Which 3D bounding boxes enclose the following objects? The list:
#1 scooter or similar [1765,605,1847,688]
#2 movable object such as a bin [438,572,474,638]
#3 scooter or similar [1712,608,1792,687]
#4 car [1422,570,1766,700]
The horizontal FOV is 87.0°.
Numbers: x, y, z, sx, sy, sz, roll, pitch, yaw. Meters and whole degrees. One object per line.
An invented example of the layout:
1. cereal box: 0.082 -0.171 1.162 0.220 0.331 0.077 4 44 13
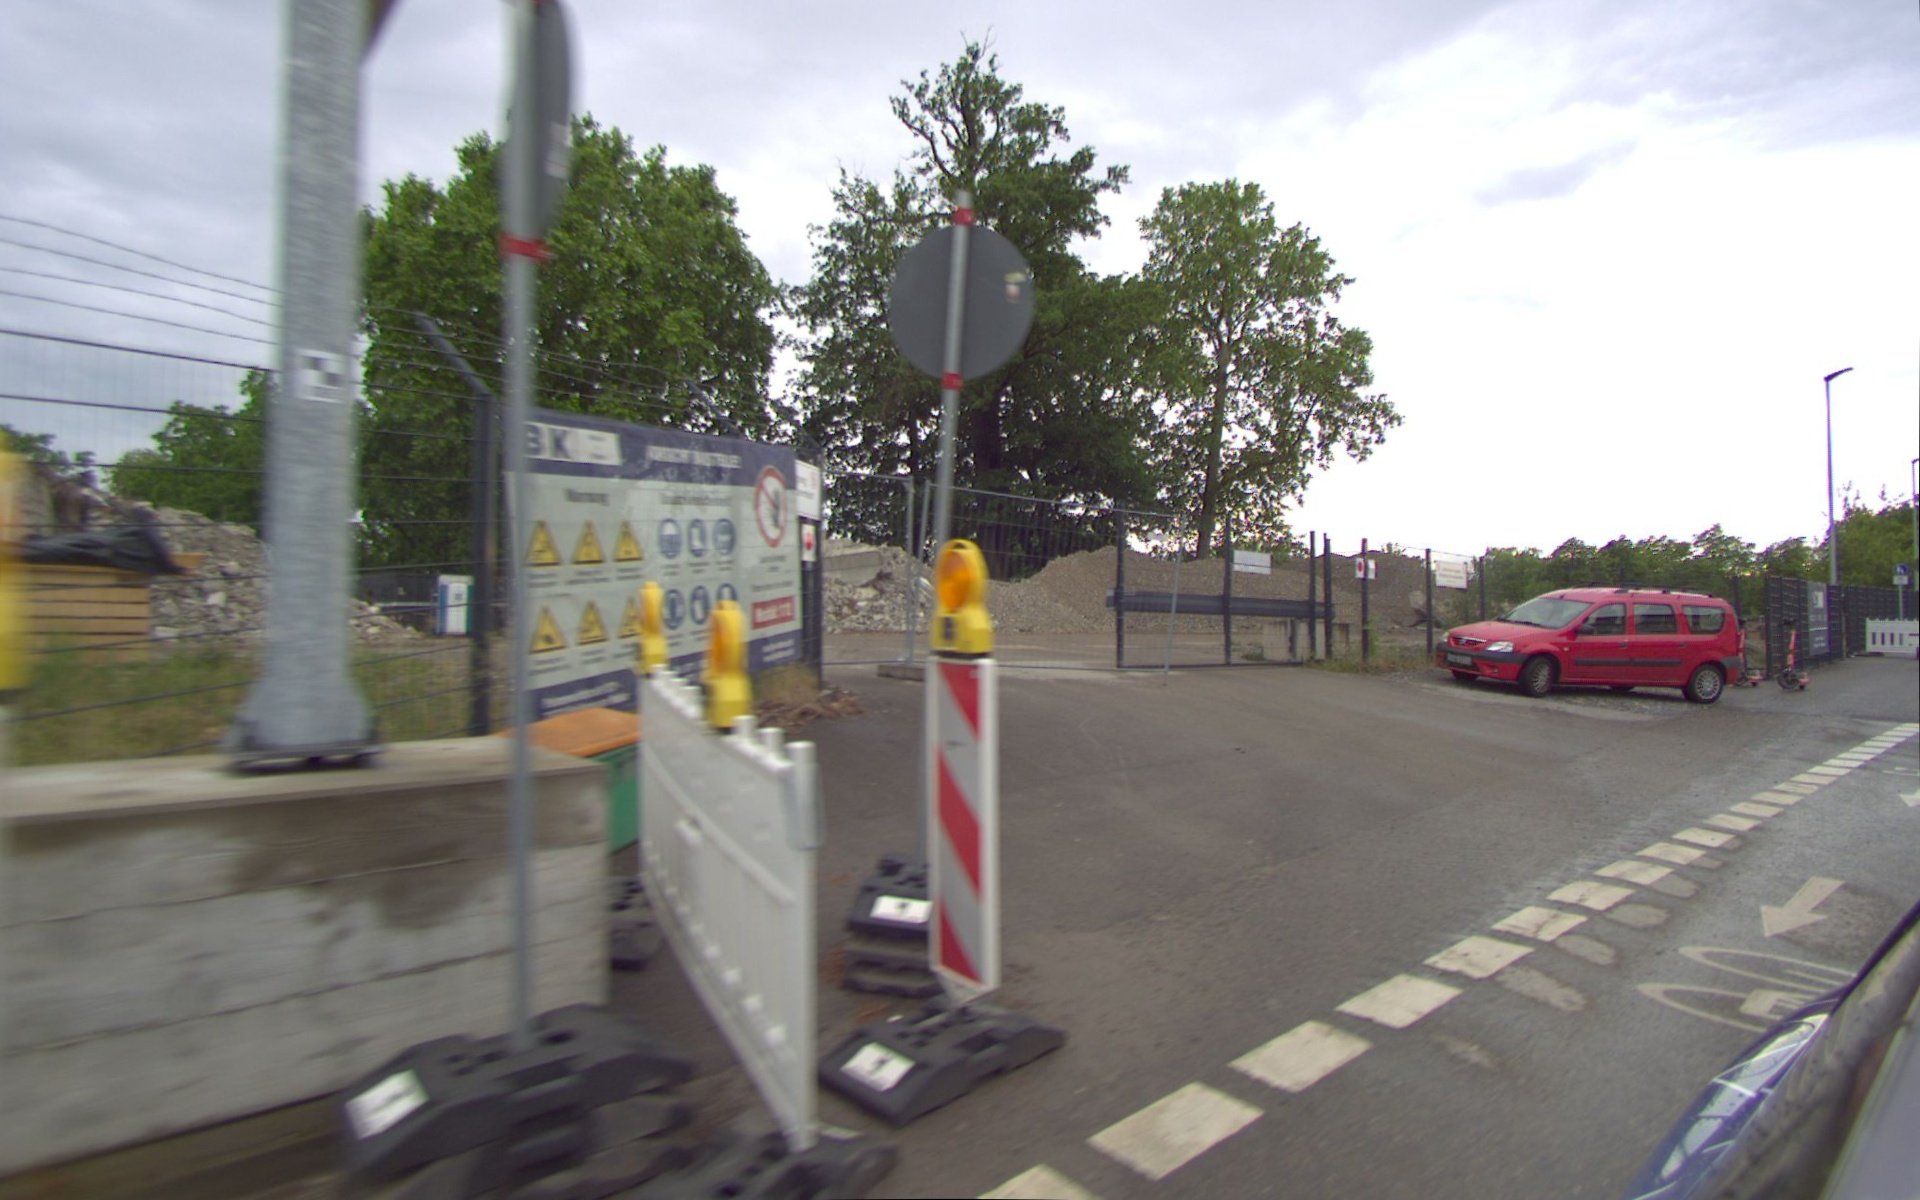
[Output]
1. scooter or similar: 14.754 0.772 17.634 1.876 1.368 0.617 0 -1 -35
2. movable object such as a bin: -17.998 0.166 36.149 1.087 2.280 1.385 -1 0 -28
3. scooter or similar: 14.408 0.833 18.399 1.876 1.368 0.617 0 -1 -35
4. car: 9.629 0.494 15.513 4.317 1.817 1.828 0 -1 -10
